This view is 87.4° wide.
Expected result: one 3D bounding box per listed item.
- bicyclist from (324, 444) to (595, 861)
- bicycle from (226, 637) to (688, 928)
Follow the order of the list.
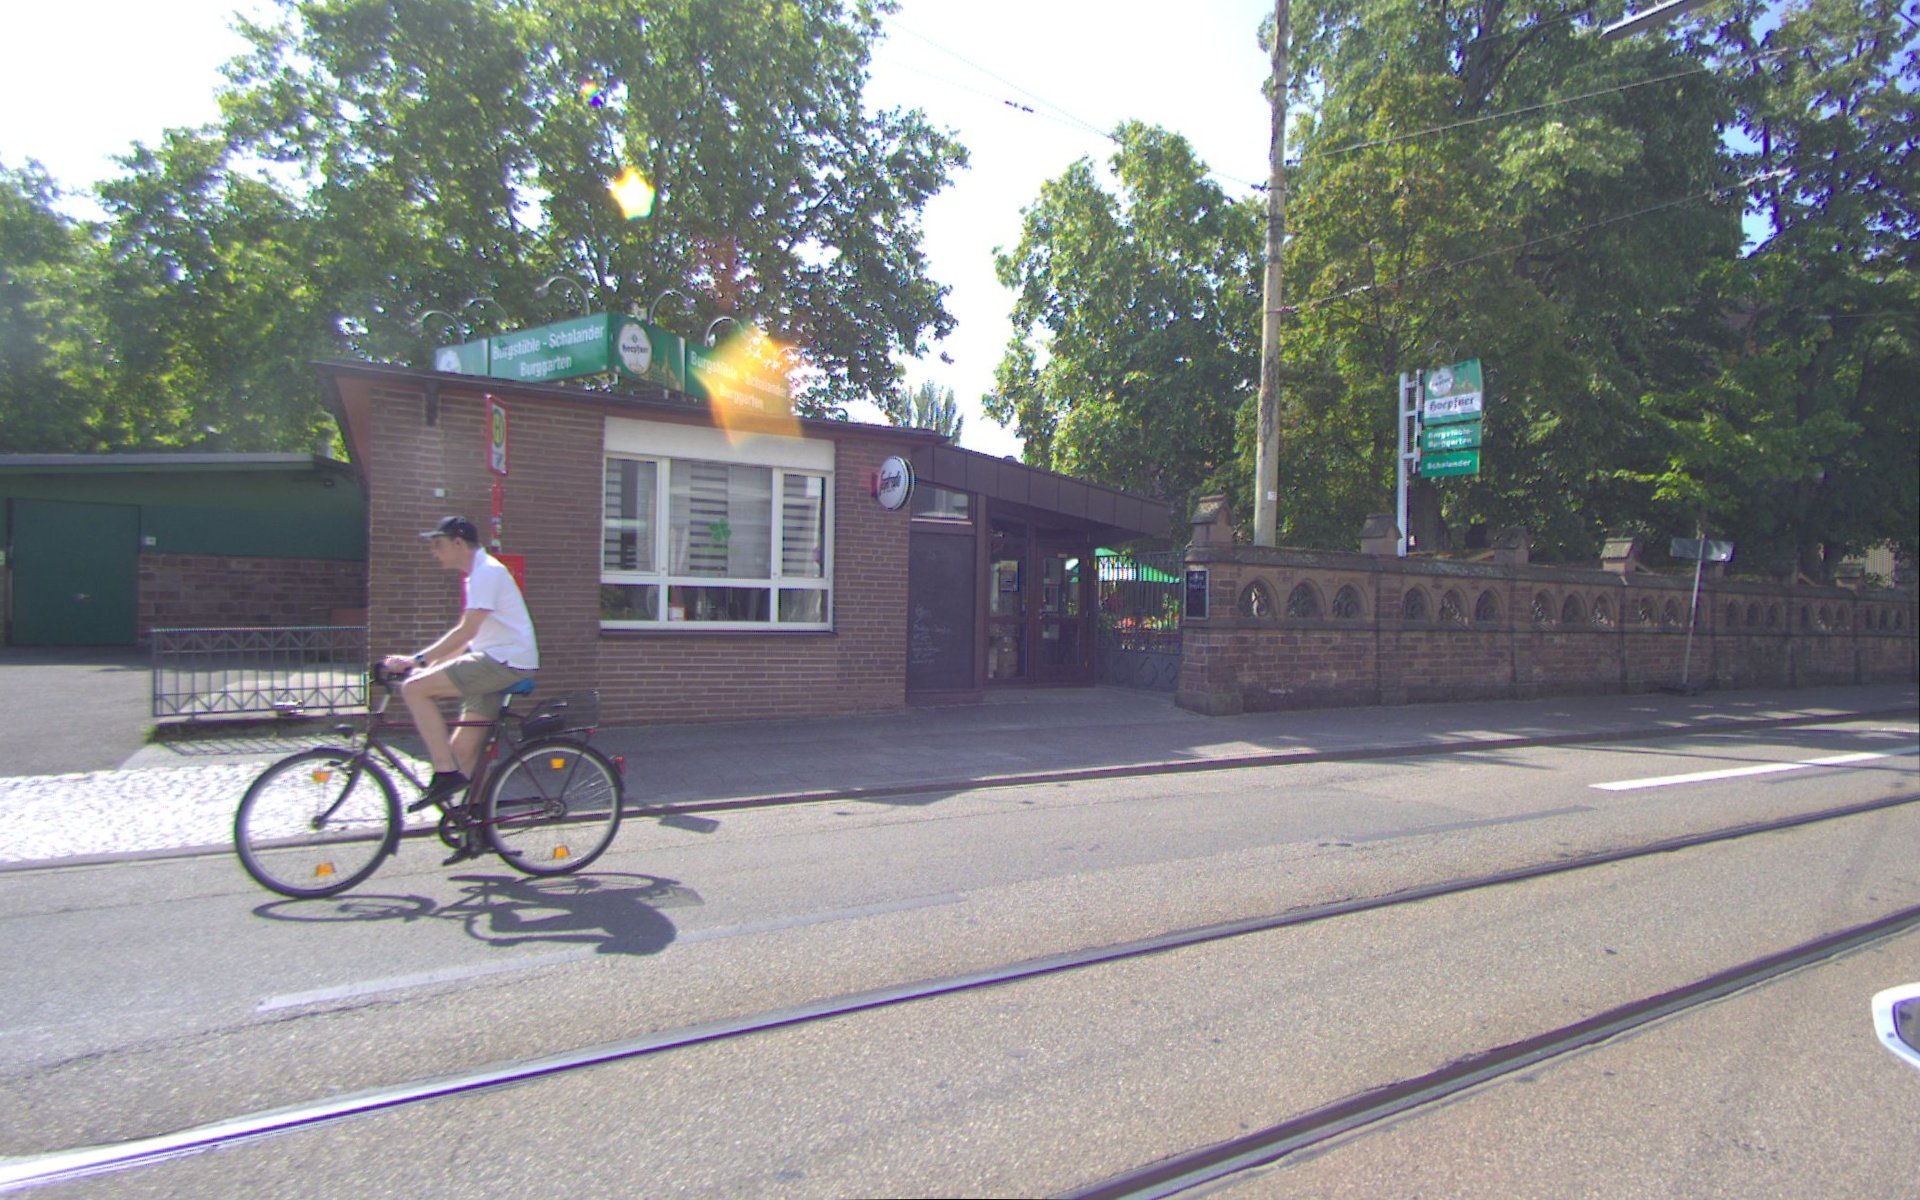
[{"bbox_3d":[-2.609,0.260,5.276,1.162,1.955,0.638,2,0,-30],"label":"bicyclist"},{"bbox_3d":[-2.555,0.848,5.291,2.010,1.257,0.782,2,0,-30],"label":"bicycle"}]
